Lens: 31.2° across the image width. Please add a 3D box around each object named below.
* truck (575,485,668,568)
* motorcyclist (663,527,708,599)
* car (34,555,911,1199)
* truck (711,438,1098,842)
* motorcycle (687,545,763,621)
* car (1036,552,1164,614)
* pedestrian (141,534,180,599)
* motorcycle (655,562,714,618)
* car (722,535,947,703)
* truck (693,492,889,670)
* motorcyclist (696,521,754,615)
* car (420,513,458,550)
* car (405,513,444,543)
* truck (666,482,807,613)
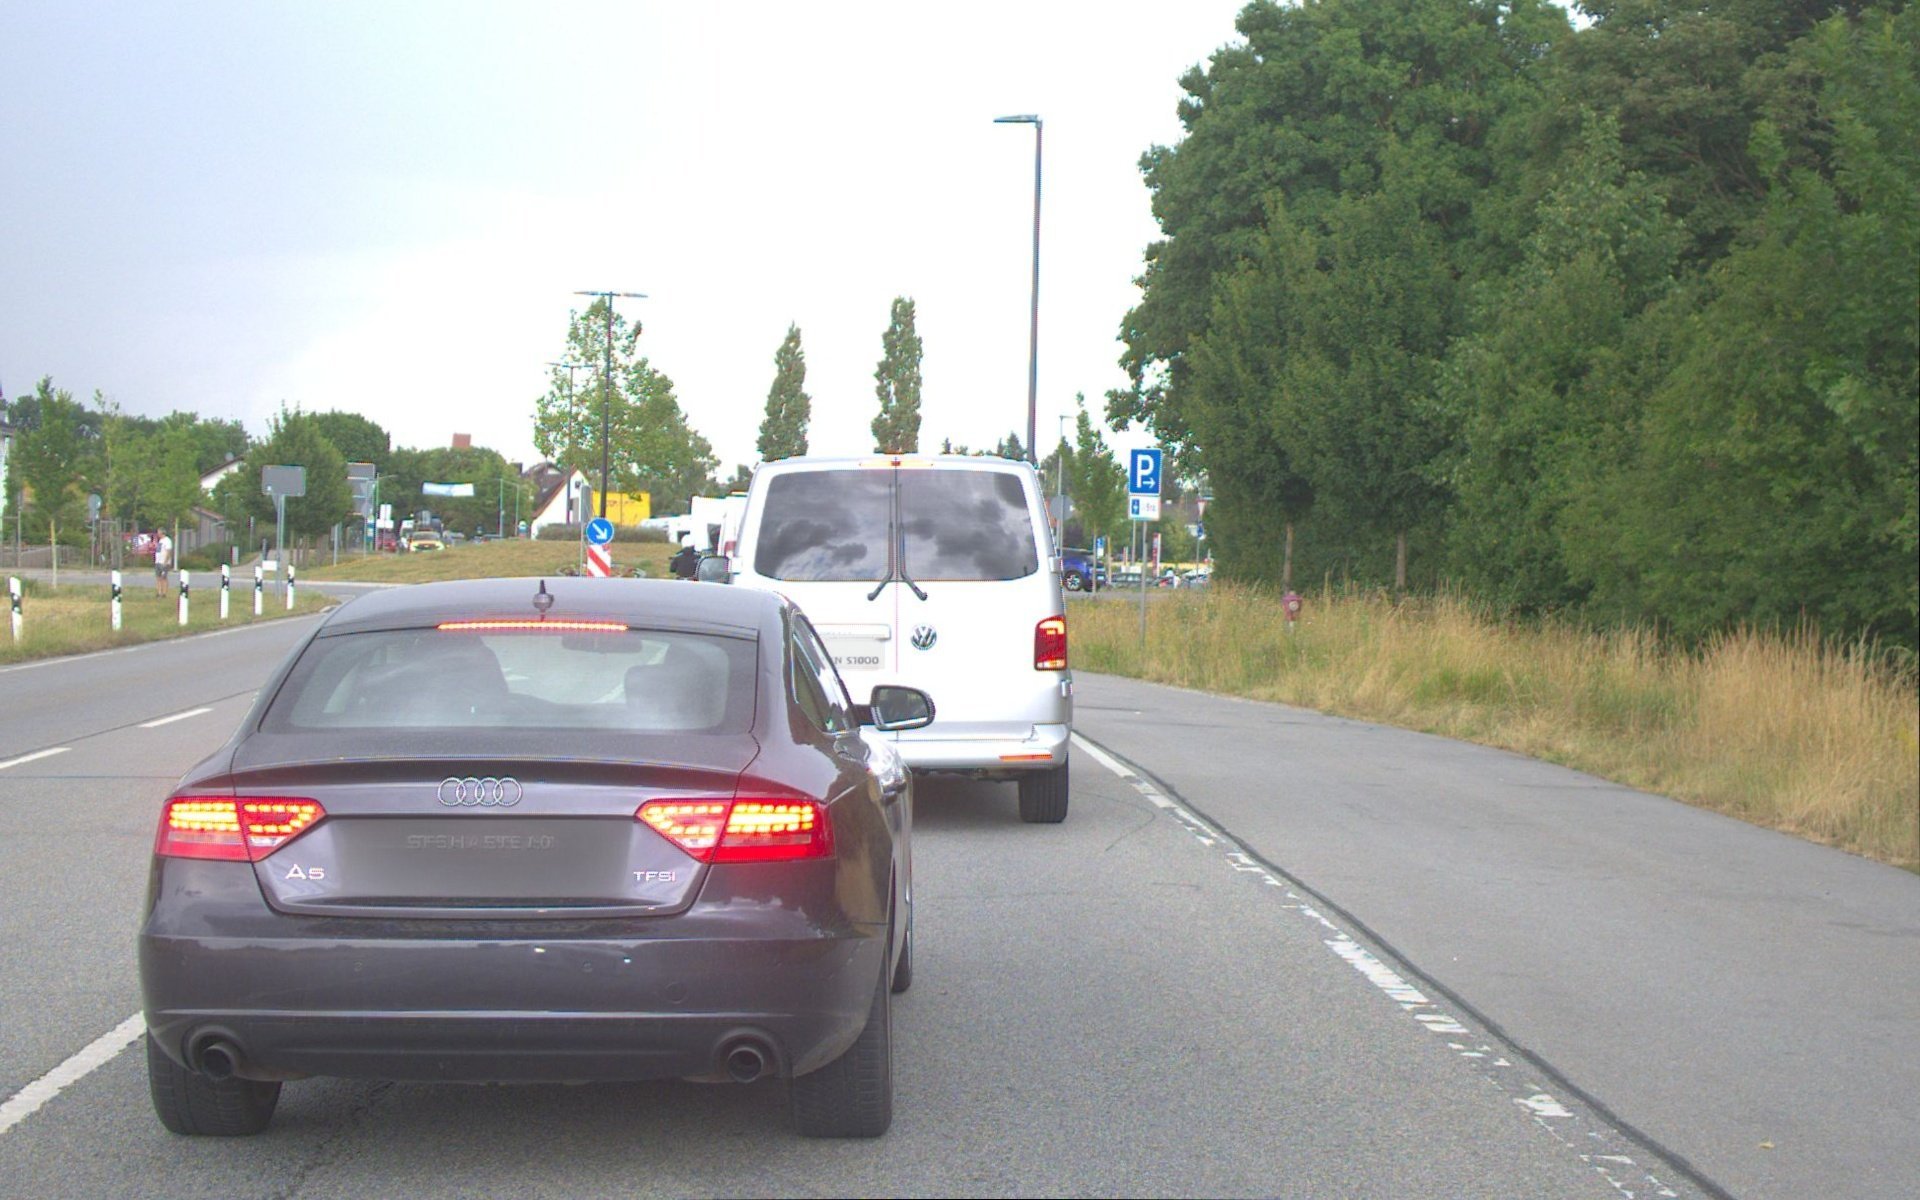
[{"bbox_3d":[-15.616,-3.411,157.927,3.575,3.566,9.959,2,1,-9],"label":"truck"},{"bbox_3d":[-5.227,-0.702,65.476,0.785,1.352,0.854,1,1,-1],"label":"motorcyclist"},{"bbox_3d":[-1.085,0.619,9.527,1.875,1.449,4.177,1,1,-1],"label":"car"},{"bbox_3d":[-0.317,0.156,19.597,1.904,1.991,4.629,1,1,-1],"label":"truck"},{"bbox_3d":[-3.525,-0.265,51.765,0.920,1.090,2.188,2,1,1],"label":"motorcycle"},{"bbox_3d":[4.873,-0.604,119.797,3.991,2.007,1.998,2,1,19],"label":"car"},{"bbox_3d":[-19.794,-0.836,85.118,0.656,1.580,0.703,1,1,-44],"label":"pedestrian"},{"bbox_3d":[-5.225,-0.205,65.352,0.944,1.016,2.284,1,1,-1],"label":"motorcycle"},{"bbox_3d":[-1.191,0.144,32.972,1.993,1.480,4.000,1,1,-2],"label":"car"},{"bbox_3d":[-1.994,-0.252,42.114,2.193,2.007,5.085,1,1,-1],"label":"truck"},{"bbox_3d":[-3.532,-0.488,51.661,0.772,1.379,0.820,2,1,0],"label":"motorcyclist"},{"bbox_3d":[-29.148,-3.827,192.470,1.993,2.007,4.001,2,1,-8],"label":"car"},{"bbox_3d":[-31.282,-4.197,200.921,1.993,1.636,4.001,2,1,-5],"label":"car"},{"bbox_3d":[-5.032,-1.169,76.456,2.625,2.728,5.869,2,1,-8],"label":"truck"}]
